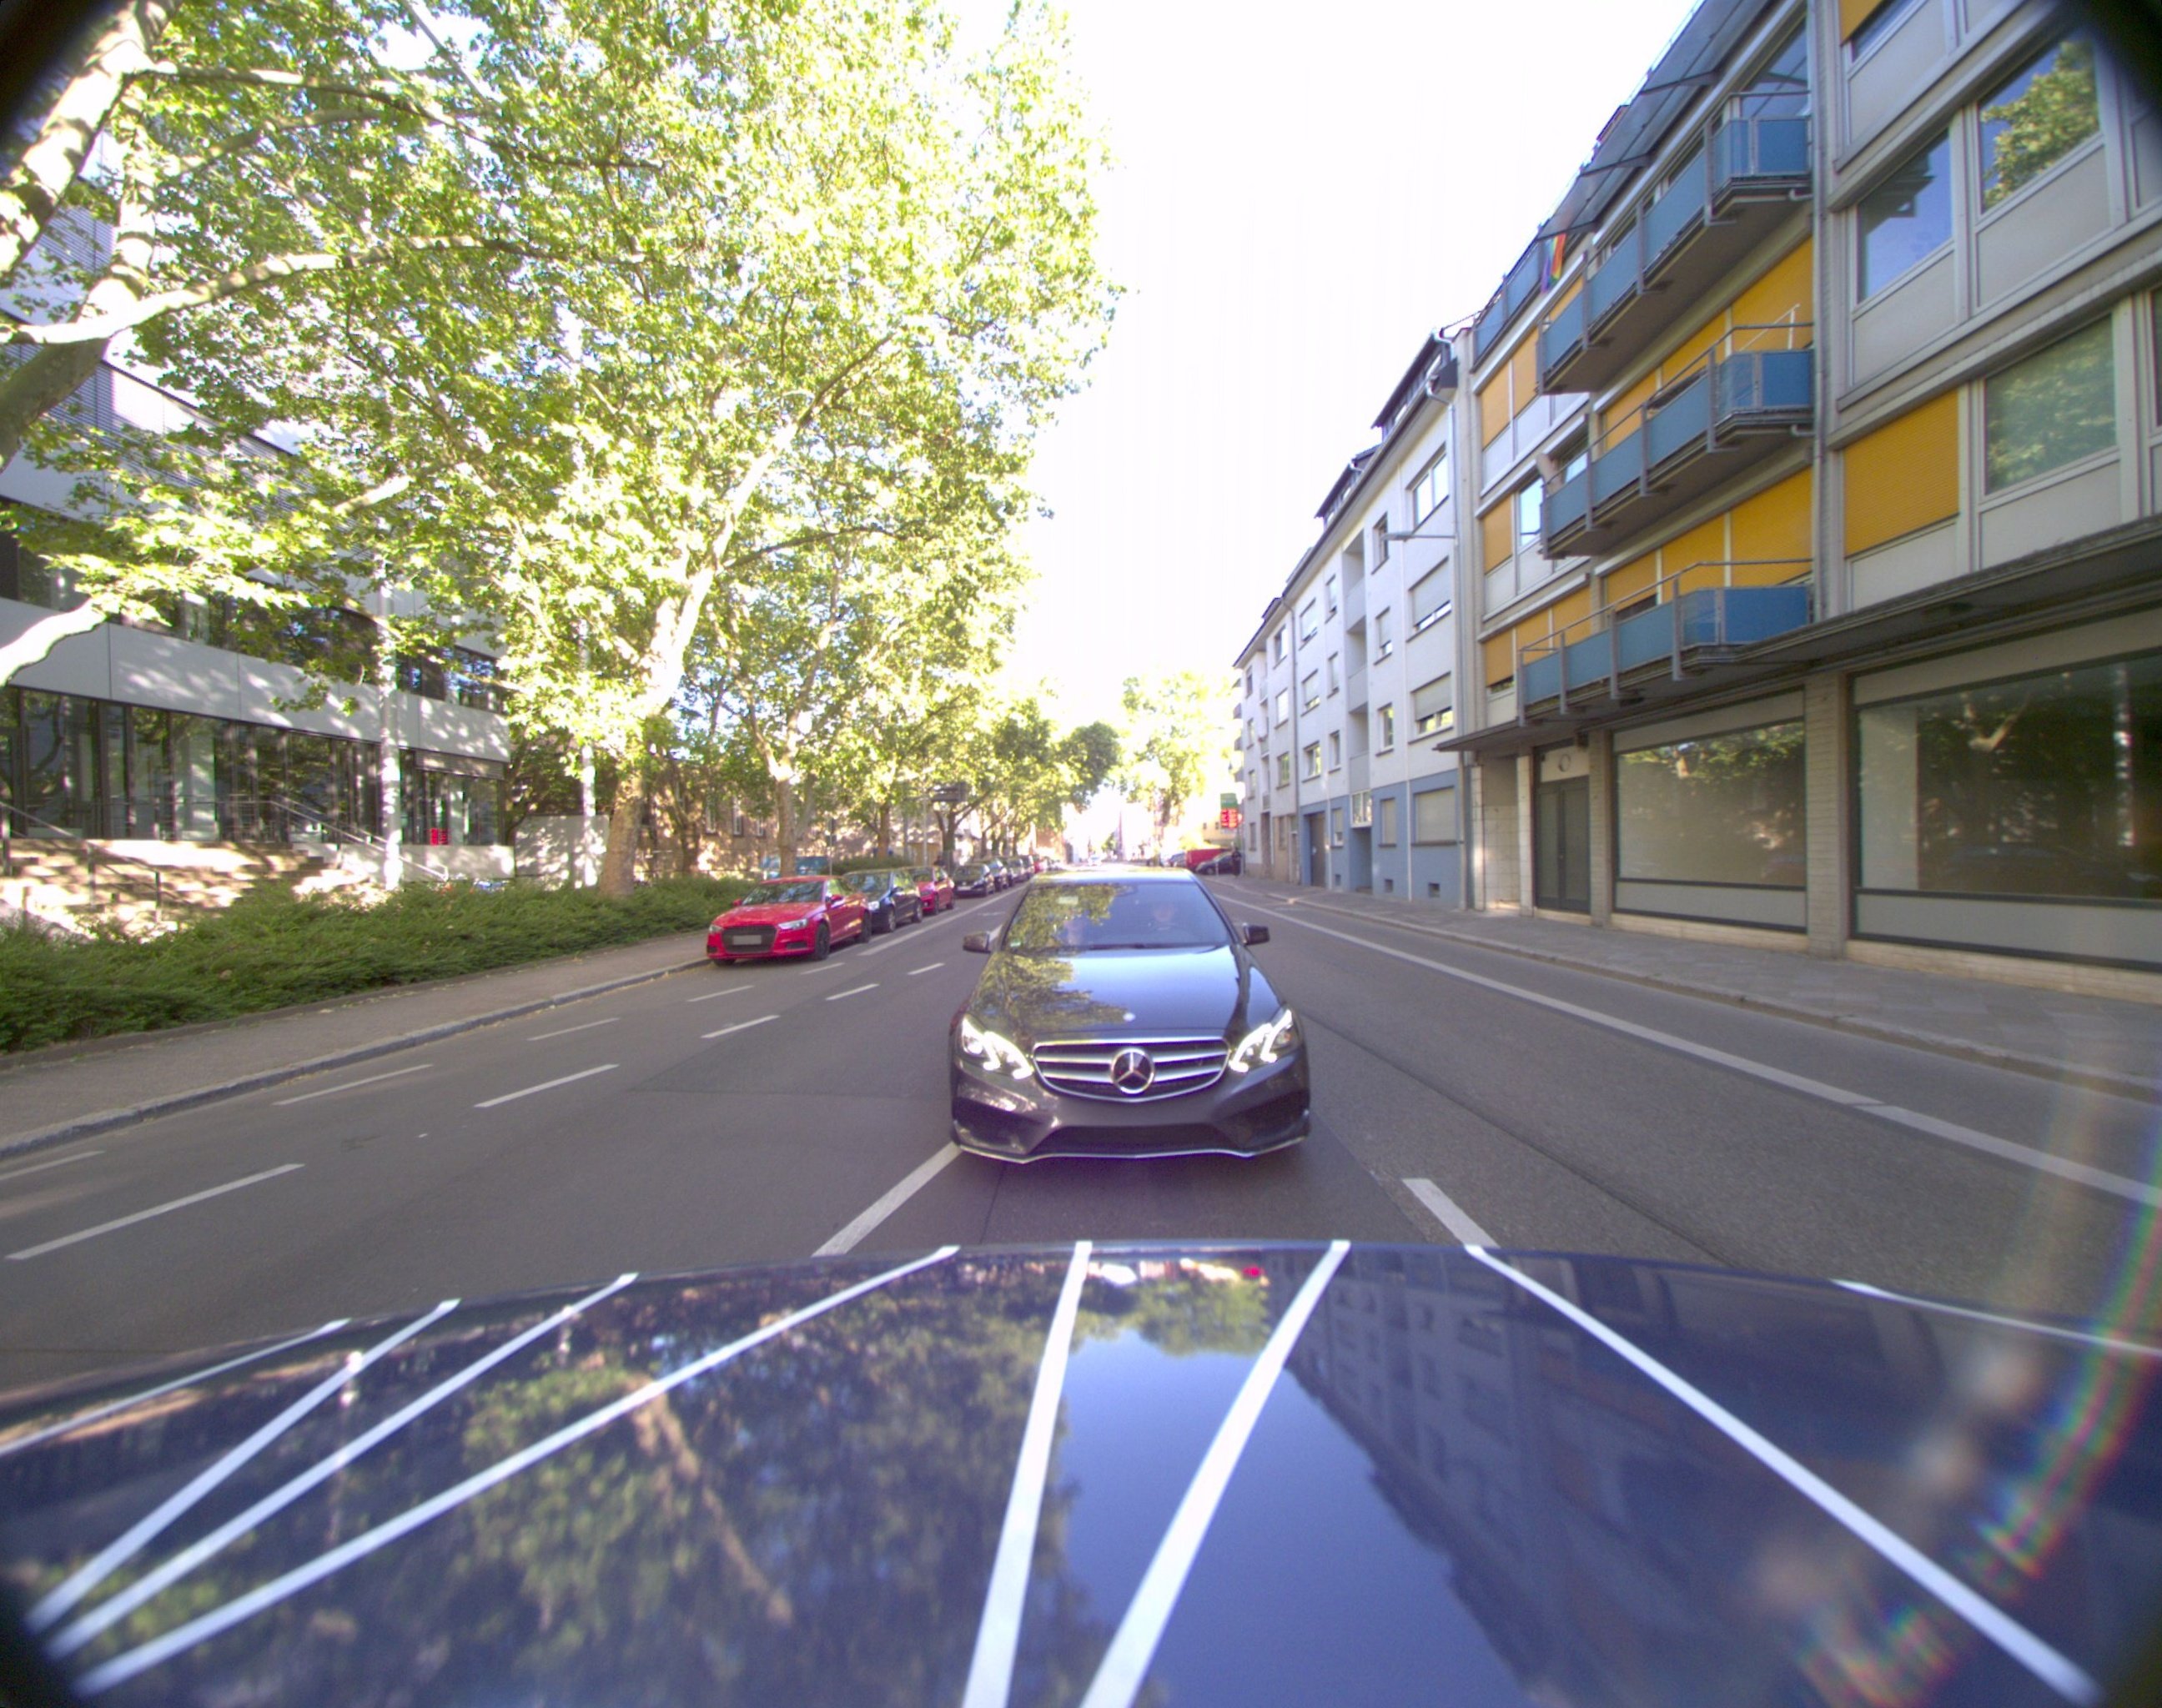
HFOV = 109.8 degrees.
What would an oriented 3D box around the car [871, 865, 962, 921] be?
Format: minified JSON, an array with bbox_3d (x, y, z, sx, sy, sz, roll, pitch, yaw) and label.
[{"bbox_3d":[-5.046,1.141,23.843,1.835,1.459,4.168,-2,0,1],"label":"car"}]

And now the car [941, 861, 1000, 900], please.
[{"bbox_3d":[-4.749,1.110,33.179,1.835,1.459,4.168,-2,0,1],"label":"car"}]

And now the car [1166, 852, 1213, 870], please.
[{"bbox_3d":[10.429,0.682,73.194,4.255,1.461,1.653,-4,0,1],"label":"car"}]

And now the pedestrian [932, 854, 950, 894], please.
[{"bbox_3d":[-6.630,0.939,36.020,0.660,1.849,0.641,-2,1,1],"label":"pedestrian"}]

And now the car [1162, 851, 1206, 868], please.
[{"bbox_3d":[10.600,0.549,78.653,4.255,1.461,1.653,-4,0,1],"label":"car"}]

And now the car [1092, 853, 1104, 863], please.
[{"bbox_3d":[2.721,0.601,121.555,1.726,1.530,4.000,-1,0,1],"label":"car"}]

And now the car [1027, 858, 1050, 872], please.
[{"bbox_3d":[-3.994,1.033,71.790,1.835,1.220,4.259,-2,0,1],"label":"car"}]

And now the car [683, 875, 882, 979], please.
[{"bbox_3d":[-5.134,1.184,13.772,1.835,1.396,4.247,-2,0,1],"label":"car"}]

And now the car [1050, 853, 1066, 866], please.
[{"bbox_3d":[-3.050,0.692,102.951,1.835,1.667,4.259,-2,0,1],"label":"car"}]

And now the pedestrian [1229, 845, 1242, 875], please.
[{"bbox_3d":[8.768,0.343,43.138,0.612,1.685,0.655,-2,1,1],"label":"pedestrian"}]

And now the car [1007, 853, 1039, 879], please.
[{"bbox_3d":[-4.183,0.819,55.642,1.835,1.750,4.259,-2,0,1],"label":"car"}]

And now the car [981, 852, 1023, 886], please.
[{"bbox_3d":[-4.514,0.829,44.117,1.835,1.787,4.463,-2,0,1],"label":"car"}]

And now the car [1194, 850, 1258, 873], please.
[{"bbox_3d":[10.396,0.526,54.750,4.255,1.392,1.653,-4,0,1],"label":"car"}]

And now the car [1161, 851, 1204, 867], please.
[{"bbox_3d":[10.771,0.523,80.617,4.255,1.461,1.653,-4,0,1],"label":"car"}]

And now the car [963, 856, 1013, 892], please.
[{"bbox_3d":[-4.600,0.971,38.077,1.835,1.596,4.161,-2,0,1],"label":"car"}]

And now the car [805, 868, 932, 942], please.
[{"bbox_3d":[-5.044,1.157,18.633,1.835,1.438,4.168,-2,0,1],"label":"car"}]

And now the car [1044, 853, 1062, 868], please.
[{"bbox_3d":[-3.415,0.793,92.845,1.835,1.667,4.259,-2,0,1],"label":"car"}]

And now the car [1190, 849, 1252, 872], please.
[{"bbox_3d":[10.480,0.463,57.052,4.255,1.461,1.653,-4,0,1],"label":"car"}]

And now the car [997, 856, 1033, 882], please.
[{"bbox_3d":[-4.341,0.953,50.610,1.835,1.604,4.259,-2,0,1],"label":"car"}]

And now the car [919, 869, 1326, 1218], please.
[{"bbox_3d":[0.222,0.924,5.672,1.849,1.490,4.302,-1,0,1],"label":"car"}]

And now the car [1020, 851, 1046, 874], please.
[{"bbox_3d":[-4.149,0.689,66.349,1.835,1.839,4.259,-2,0,1],"label":"car"}]

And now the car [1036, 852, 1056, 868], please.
[{"bbox_3d":[-3.942,0.675,86.229,1.835,1.667,4.259,-2,0,1],"label":"car"}]

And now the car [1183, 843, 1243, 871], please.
[{"bbox_3d":[10.412,0.230,60.132,4.255,1.907,1.818,-4,0,0],"label":"car"}]

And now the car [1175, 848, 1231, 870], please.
[{"bbox_3d":[10.049,0.416,62.714,4.255,1.461,1.653,-4,0,1],"label":"car"}]

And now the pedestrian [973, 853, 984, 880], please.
[{"bbox_3d":[-6.882,0.802,50.860,0.601,1.785,0.593,-2,1,0],"label":"pedestrian"}]
